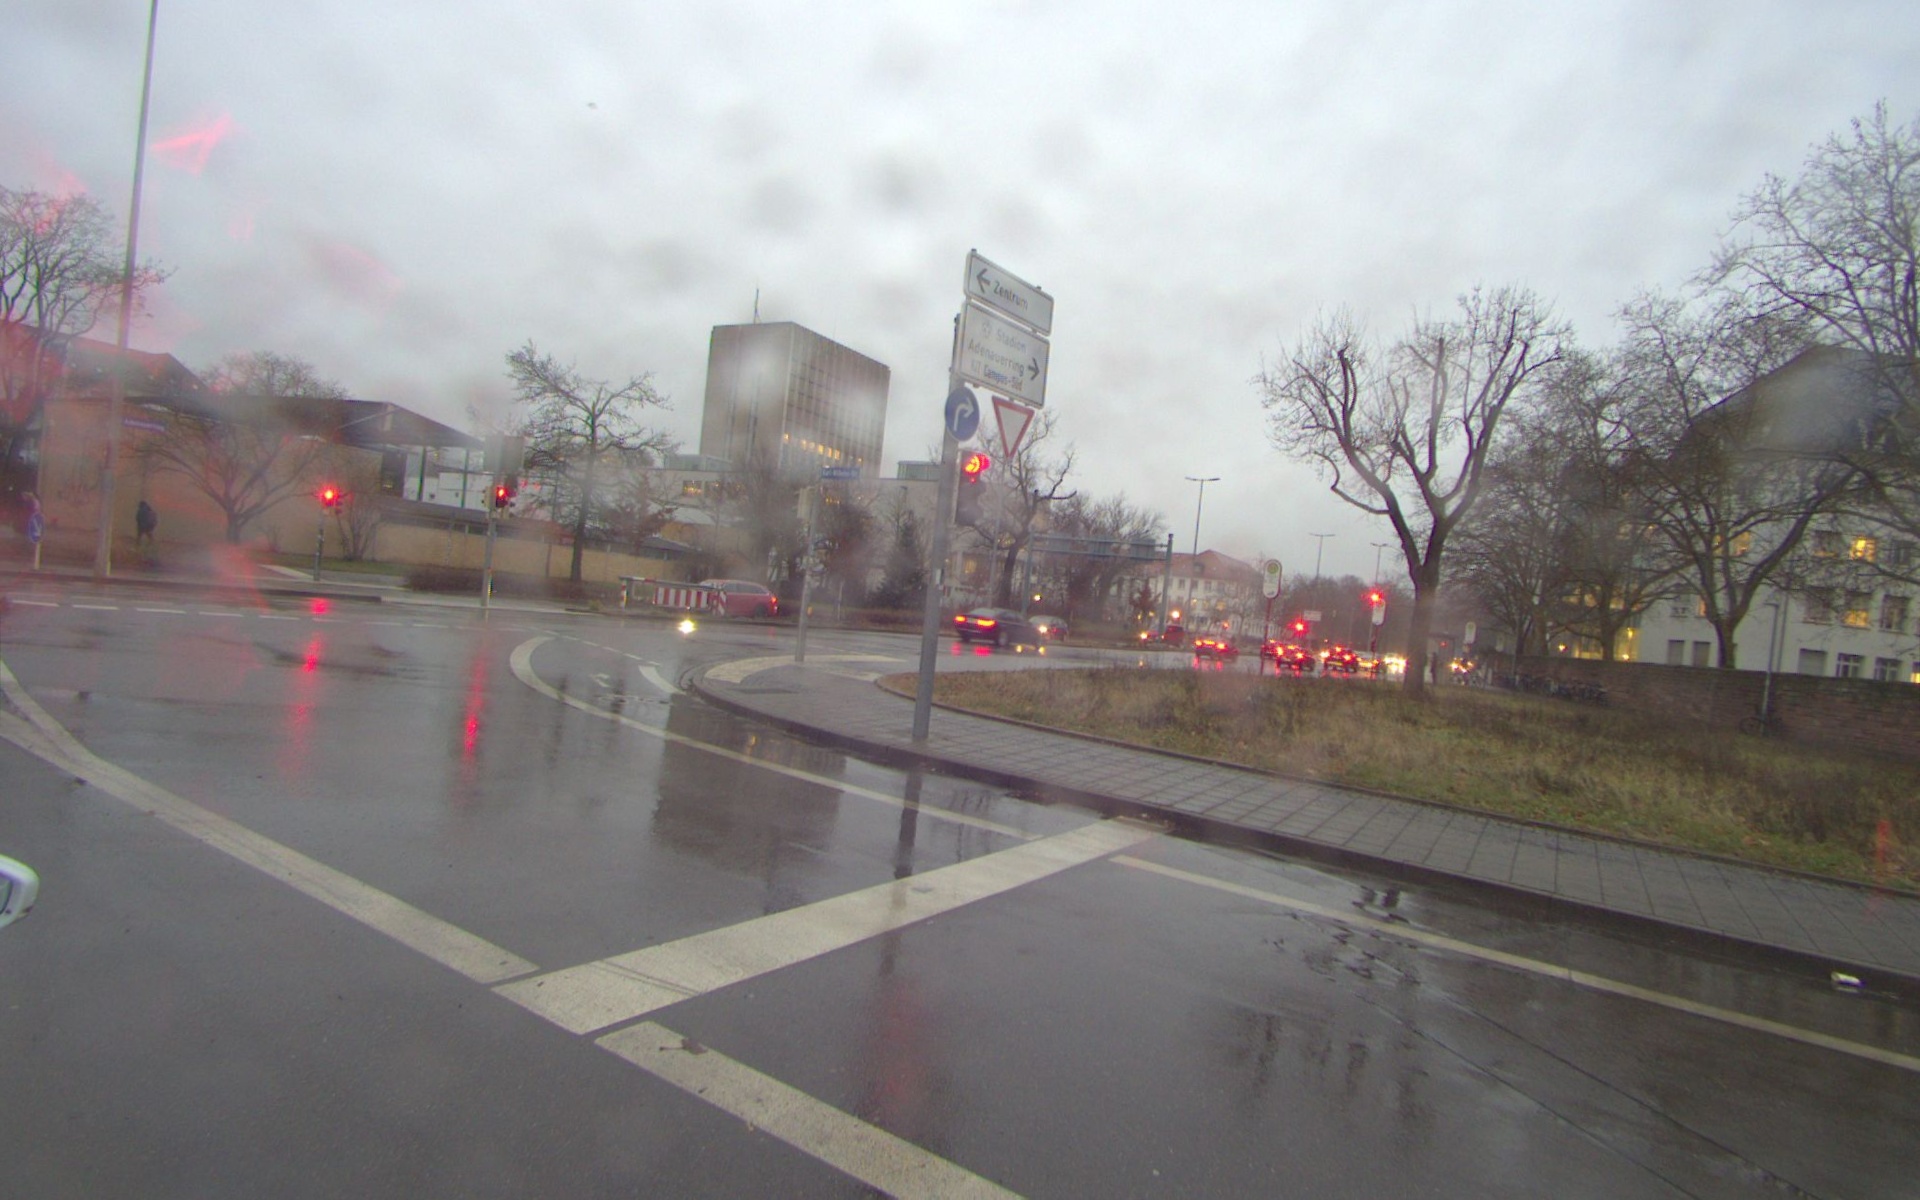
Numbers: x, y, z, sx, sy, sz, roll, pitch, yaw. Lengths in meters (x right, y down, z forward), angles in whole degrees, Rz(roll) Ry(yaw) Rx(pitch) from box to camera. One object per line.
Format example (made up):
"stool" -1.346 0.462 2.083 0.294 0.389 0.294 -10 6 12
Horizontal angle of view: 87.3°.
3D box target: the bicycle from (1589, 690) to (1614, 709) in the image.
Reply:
"bicycle" 30.272 4.673 47.474 0.352 0.795 1.415 7 -2 8

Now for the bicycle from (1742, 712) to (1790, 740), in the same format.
"bicycle" 28.200 4.399 35.223 0.387 0.834 1.386 7 -2 -4

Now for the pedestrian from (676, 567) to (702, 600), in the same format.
"pedestrian" -14.532 -0.881 53.989 0.783 1.624 0.960 8 2 39

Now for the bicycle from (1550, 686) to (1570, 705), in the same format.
"bicycle" 31.354 4.980 52.554 0.387 0.868 1.532 7 -2 15

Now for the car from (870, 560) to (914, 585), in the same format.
"car" -7.148 -2.918 106.383 2.014 2.102 4.892 6 0 30

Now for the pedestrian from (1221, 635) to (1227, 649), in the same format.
"pedestrian" 32.966 5.254 125.665 0.404 1.713 0.561 7 2 28

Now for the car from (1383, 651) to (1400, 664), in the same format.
"car" 66.979 8.955 156.195 1.965 1.783 3.993 7 1 27

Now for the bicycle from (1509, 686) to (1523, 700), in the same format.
"bicycle" 34.347 5.742 62.150 0.387 0.795 1.532 7 -2 20

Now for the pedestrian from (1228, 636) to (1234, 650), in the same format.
"pedestrian" 33.819 5.369 125.611 0.404 1.713 0.427 7 2 28

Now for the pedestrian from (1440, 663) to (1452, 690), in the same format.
"pedestrian" 30.149 4.733 62.416 0.462 1.623 0.486 7 -1 25

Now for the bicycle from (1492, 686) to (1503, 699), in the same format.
"bicycle" 36.388 6.248 68.105 0.387 0.795 1.532 7 -2 20

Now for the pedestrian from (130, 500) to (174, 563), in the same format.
"pedestrian" -29.335 -2.469 36.516 0.881 2.141 0.883 7 2 32

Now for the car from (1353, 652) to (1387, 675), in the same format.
"car" 34.249 5.287 83.988 1.811 1.710 4.311 6 0 32

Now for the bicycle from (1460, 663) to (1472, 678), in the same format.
"bicycle" 43.536 6.075 86.529 0.599 1.181 1.682 7 -2 19

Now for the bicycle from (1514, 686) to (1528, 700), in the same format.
"bicycle" 33.826 5.614 60.661 0.387 0.795 1.532 7 -2 20

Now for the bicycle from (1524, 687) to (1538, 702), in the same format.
"bicycle" 32.838 5.405 57.864 0.387 0.795 1.532 7 -2 19

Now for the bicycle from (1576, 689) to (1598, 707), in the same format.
"bicycle" 30.546 4.769 48.998 0.387 0.795 1.533 7 -2 14

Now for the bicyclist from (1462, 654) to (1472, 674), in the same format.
"bicyclist" 43.614 5.488 86.544 0.599 1.660 0.453 7 -1 19

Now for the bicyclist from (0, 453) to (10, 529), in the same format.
"bicyclist" -6.386 -0.224 5.908 1.115 1.470 0.785 6 -1 32

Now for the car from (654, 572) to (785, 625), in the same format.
"car" -8.619 -0.029 36.336 1.784 1.496 4.411 6 0 37

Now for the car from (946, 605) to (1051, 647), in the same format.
"car" 1.636 1.097 41.131 1.909 1.318 4.682 6 0 36

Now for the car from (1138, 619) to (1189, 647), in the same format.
"car" 16.530 2.724 81.460 2.015 1.903 5.321 6 0 34

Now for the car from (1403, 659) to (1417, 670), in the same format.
"car" 82.991 11.849 185.522 1.834 1.783 3.993 7 1 27

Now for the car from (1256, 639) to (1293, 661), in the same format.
"car" 25.879 4.129 82.600 1.811 1.602 4.127 6 0 32

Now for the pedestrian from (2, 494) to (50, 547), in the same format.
"pedestrian" -30.244 -2.561 32.573 1.027 1.553 0.923 8 2 38

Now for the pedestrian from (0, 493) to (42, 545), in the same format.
"pedestrian" -31.089 -2.667 33.248 0.872 1.553 0.892 8 2 37

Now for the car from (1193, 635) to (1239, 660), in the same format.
"car" 15.939 2.949 62.518 1.673 1.318 3.758 6 0 32

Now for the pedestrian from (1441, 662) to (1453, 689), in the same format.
"pedestrian" 38.435 5.930 79.335 0.557 2.040 0.595 8 2 33

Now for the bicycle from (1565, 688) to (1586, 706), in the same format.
"bicycle" 31.035 4.876 50.742 0.343 0.848 1.493 7 -2 13

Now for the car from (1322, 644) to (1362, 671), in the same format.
"car" 29.210 4.399 76.806 1.812 1.710 4.311 6 -1 34

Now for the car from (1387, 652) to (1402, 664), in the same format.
"car" 70.389 9.384 163.060 1.834 1.783 3.993 7 1 27

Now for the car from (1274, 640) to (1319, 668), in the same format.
"car" 22.536 3.618 67.370 1.811 1.602 4.127 6 0 32

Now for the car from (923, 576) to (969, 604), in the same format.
"car" -1.385 -0.992 103.256 2.014 2.452 5.326 6 0 30

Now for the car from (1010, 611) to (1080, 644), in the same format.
"car" 4.799 1.562 56.279 1.784 1.496 4.411 6 0 37

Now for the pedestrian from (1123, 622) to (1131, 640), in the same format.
"pedestrian" 16.511 3.052 99.302 0.411 1.725 0.430 8 3 44

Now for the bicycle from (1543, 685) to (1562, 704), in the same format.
"bicycle" 31.839 5.075 54.085 0.387 0.927 1.532 7 -2 15

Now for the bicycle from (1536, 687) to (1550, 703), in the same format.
"bicycle" 32.410 5.291 55.951 0.387 0.795 1.607 7 -2 22

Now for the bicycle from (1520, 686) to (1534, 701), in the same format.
"bicycle" 33.320 5.487 59.143 0.387 0.795 1.532 7 -2 20

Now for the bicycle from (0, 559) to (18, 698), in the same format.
"bicycle" -6.506 0.198 5.962 1.925 1.087 0.785 6 -2 32

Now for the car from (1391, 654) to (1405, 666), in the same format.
"car" 74.825 10.264 171.755 1.834 1.783 3.993 7 1 27

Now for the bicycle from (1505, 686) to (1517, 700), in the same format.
"bicycle" 34.848 5.867 63.624 0.387 0.795 1.532 7 -2 20
